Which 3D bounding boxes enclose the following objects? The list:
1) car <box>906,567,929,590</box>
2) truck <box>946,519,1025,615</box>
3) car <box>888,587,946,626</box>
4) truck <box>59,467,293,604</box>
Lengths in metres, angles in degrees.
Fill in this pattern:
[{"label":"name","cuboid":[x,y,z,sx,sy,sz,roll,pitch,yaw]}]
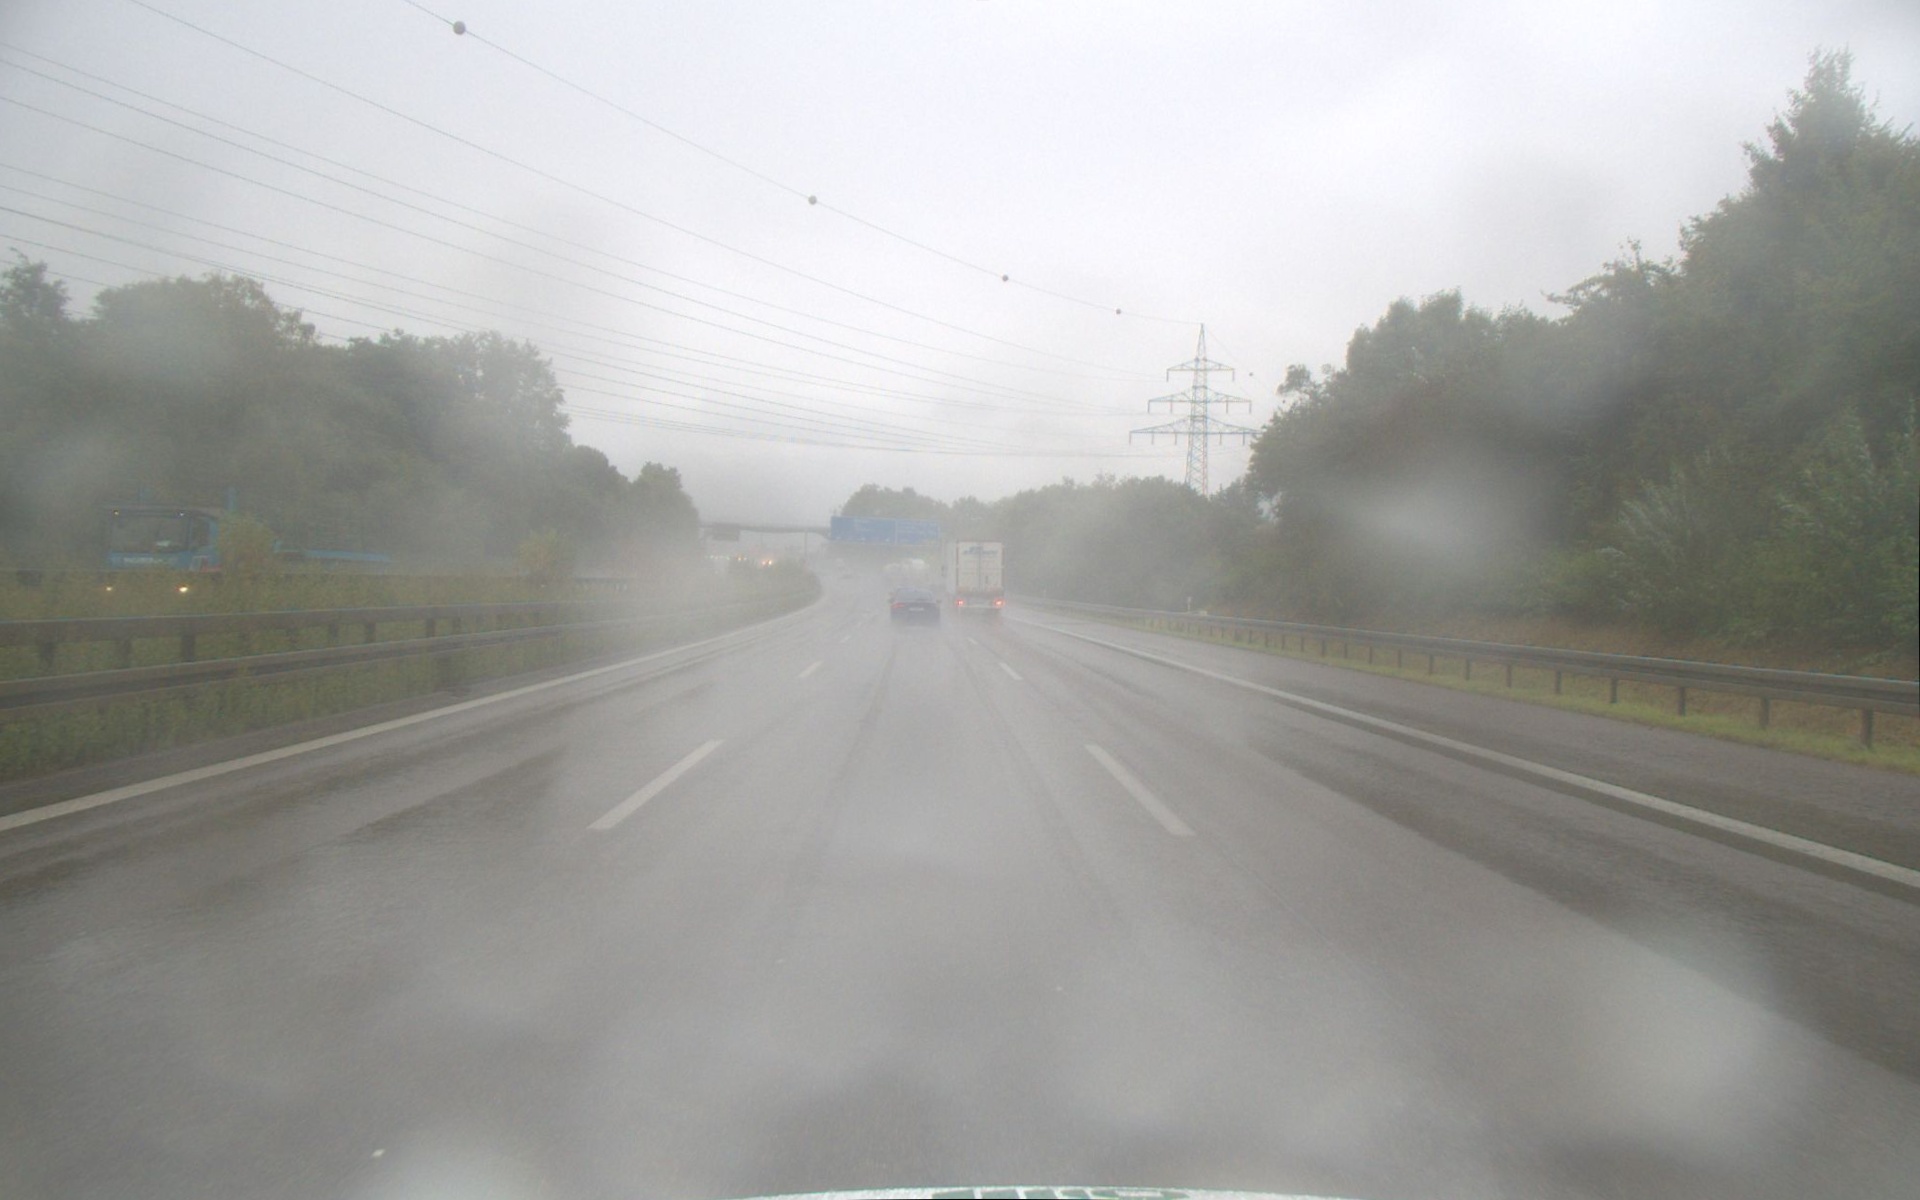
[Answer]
[{"label":"car","cuboid":[-4.560,-2.322,178.890,2.345,2.312,5.001,3,1,-2]},{"label":"truck","cuboid":[1.450,-1.853,95.786,4.169,5.059,17.342,0,1,1]},{"label":"car","cuboid":[-1.495,0.209,58.820,1.712,1.233,4.001,4,0,2]},{"label":"truck","cuboid":[-21.893,-1.724,46.747,3.007,3.333,7.389,4,0,-2]}]
